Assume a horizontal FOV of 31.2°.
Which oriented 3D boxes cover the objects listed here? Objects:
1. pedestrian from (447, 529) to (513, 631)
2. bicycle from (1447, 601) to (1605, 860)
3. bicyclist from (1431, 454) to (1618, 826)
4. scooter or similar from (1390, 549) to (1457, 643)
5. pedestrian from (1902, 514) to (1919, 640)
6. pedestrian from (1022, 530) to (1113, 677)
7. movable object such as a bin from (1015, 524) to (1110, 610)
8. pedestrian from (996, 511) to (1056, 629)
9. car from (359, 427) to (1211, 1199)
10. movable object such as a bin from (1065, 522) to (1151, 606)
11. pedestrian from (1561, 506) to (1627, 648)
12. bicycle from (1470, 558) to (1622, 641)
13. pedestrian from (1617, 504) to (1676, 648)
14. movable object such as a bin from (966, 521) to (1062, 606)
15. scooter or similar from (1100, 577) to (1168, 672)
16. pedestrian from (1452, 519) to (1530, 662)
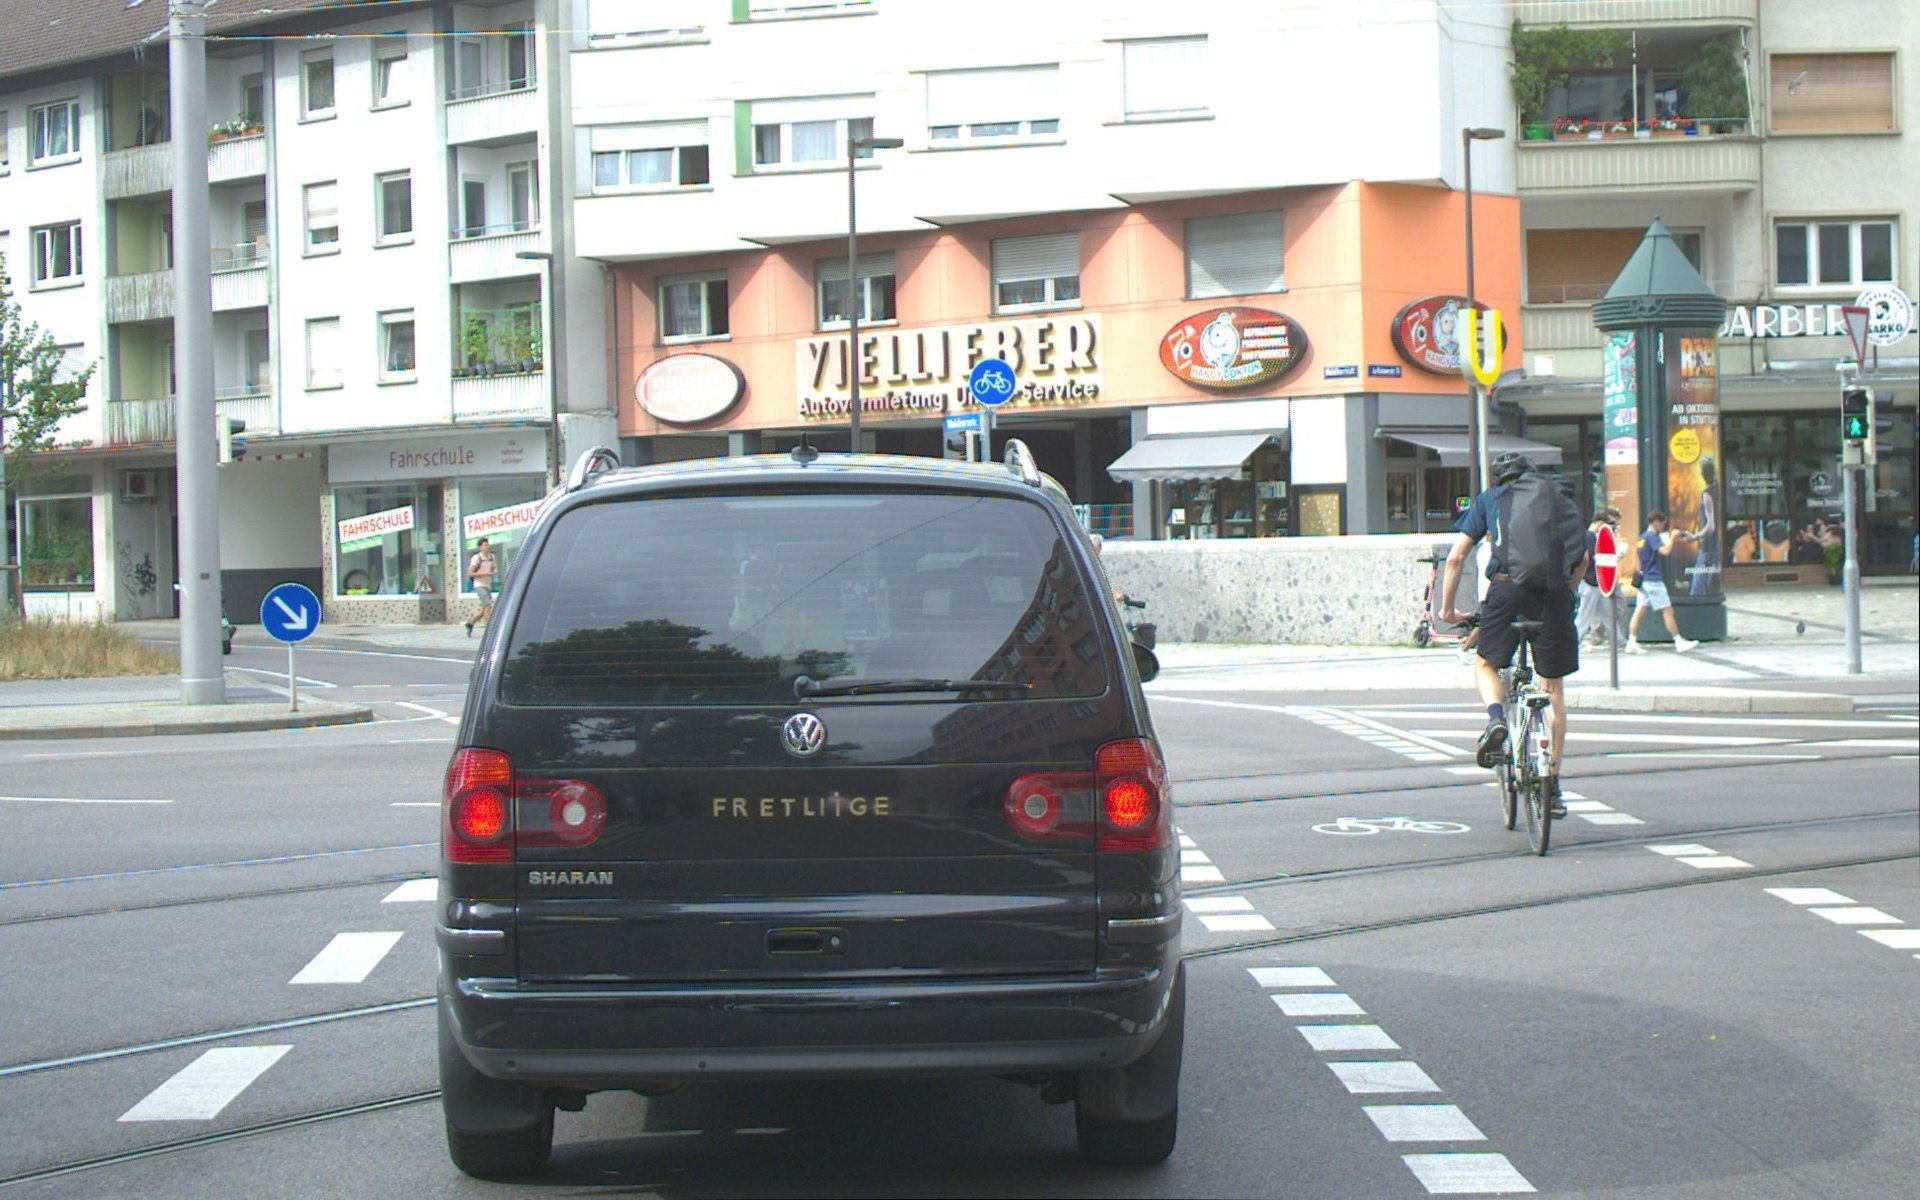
[{"bbox_3d":[-8.966,-0.370,64.165,0.657,1.845,0.971,-6,3,-43],"label":"pedestrian"},{"bbox_3d":[2.668,0.583,16.333,0.390,1.118,1.920,-1,1,-1],"label":"bicycle"},{"bbox_3d":[2.668,0.176,16.332,0.697,1.703,0.908,-1,1,-1],"label":"bicyclist"},{"bbox_3d":[6.074,-0.050,45.073,0.285,1.208,1.126,-1,1,-24],"label":"scooter or similar"},{"bbox_3d":[12.311,-0.302,43.178,0.819,1.571,0.415,-1,1,0],"label":"pedestrian"},{"bbox_3d":[1.305,0.035,41.758,0.935,1.734,0.685,-2,1,13],"label":"pedestrian"},{"bbox_3d":[1.850,-0.603,62.028,1.196,1.510,1.194,-1,1,43],"label":"movable object such as a bin"},{"bbox_3d":[1.097,-0.499,56.977,0.589,1.896,0.672,0,4,45],"label":"pedestrian"},{"bbox_3d":[-0.460,0.484,9.238,1.812,1.760,3.738,0,1,-3],"label":"car"},{"bbox_3d":[2.708,-0.661,62.810,1.167,1.510,1.003,0,1,43],"label":"movable object such as a bin"},{"bbox_3d":[7.817,-0.282,42.417,0.699,1.731,0.415,-1,1,-1],"label":"pedestrian"},{"bbox_3d":[7.707,-0.017,45.145,2.442,1.010,0.544,-3,1,-42],"label":"bicycle"},{"bbox_3d":[8.355,-0.289,41.835,0.593,1.731,0.415,-1,1,-1],"label":"pedestrian"},{"bbox_3d":[0.952,-0.647,60.970,1.223,1.455,1.146,0,1,43],"label":"movable object such as a bin"},{"bbox_3d":[2.107,0.295,41.613,0.700,1.106,0.608,-2,1,11],"label":"scooter or similar"},{"bbox_3d":[6.331,-0.120,41.008,0.803,1.674,0.627,-1,1,2],"label":"pedestrian"}]
